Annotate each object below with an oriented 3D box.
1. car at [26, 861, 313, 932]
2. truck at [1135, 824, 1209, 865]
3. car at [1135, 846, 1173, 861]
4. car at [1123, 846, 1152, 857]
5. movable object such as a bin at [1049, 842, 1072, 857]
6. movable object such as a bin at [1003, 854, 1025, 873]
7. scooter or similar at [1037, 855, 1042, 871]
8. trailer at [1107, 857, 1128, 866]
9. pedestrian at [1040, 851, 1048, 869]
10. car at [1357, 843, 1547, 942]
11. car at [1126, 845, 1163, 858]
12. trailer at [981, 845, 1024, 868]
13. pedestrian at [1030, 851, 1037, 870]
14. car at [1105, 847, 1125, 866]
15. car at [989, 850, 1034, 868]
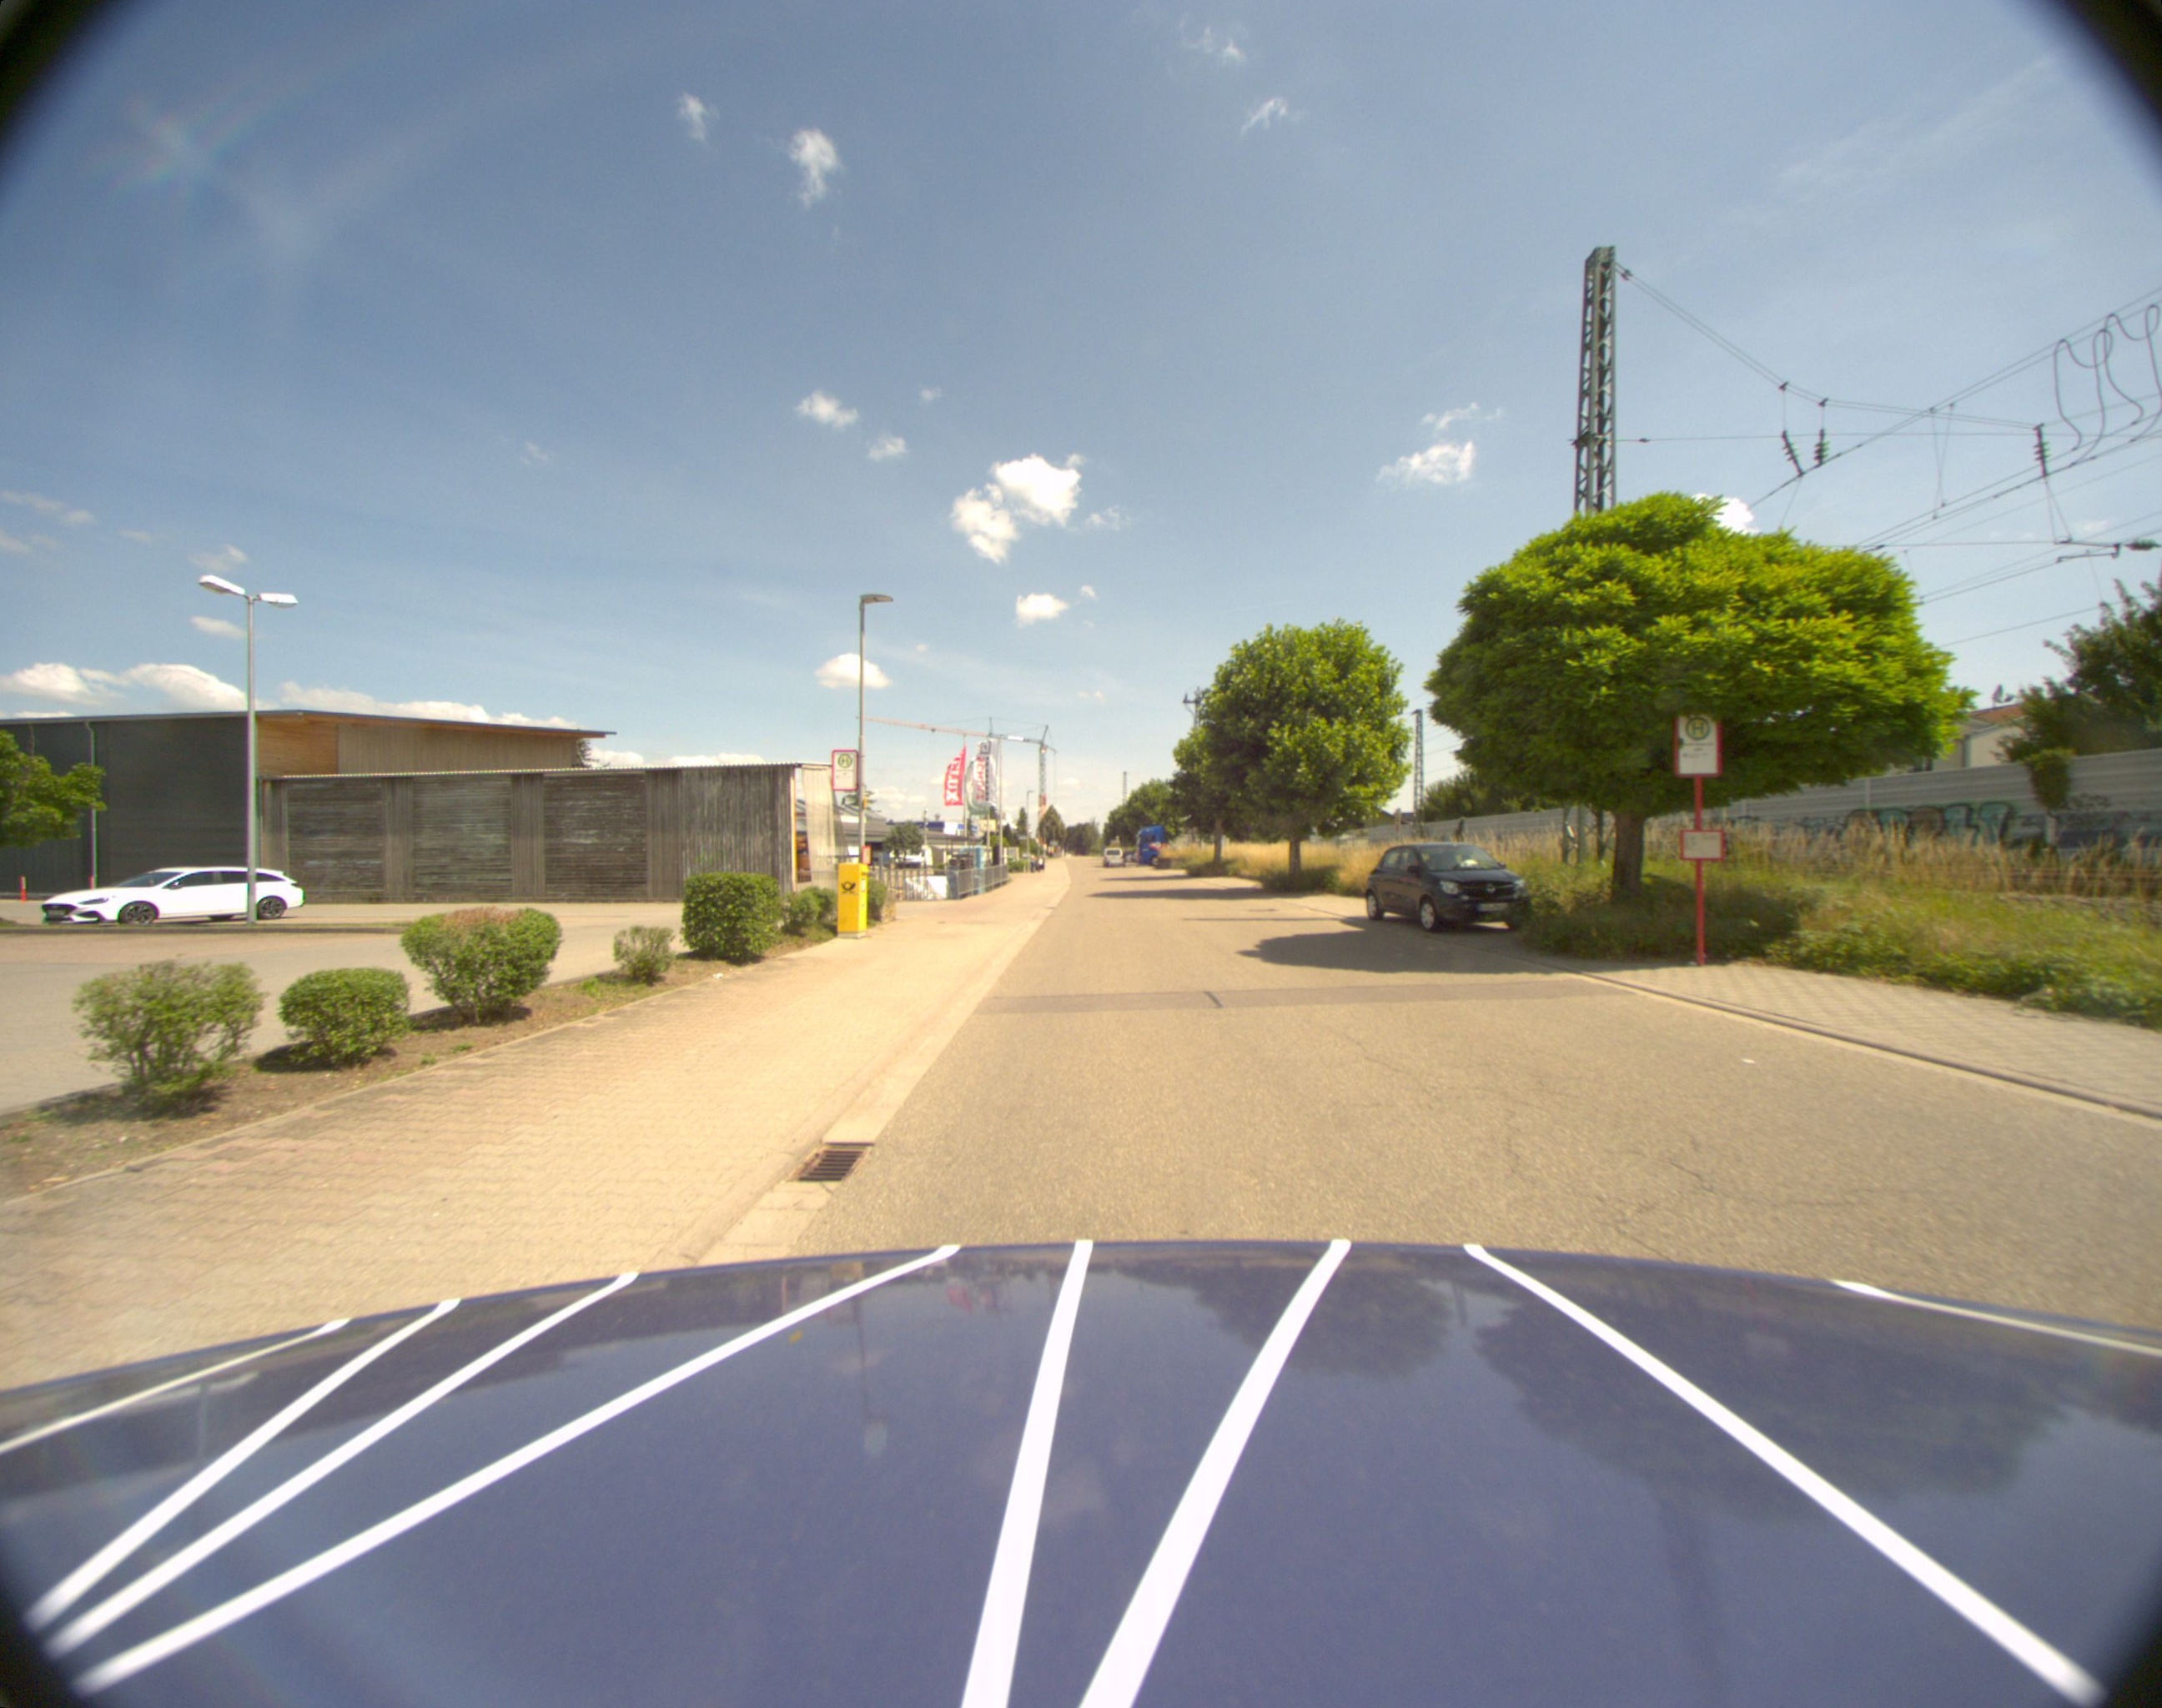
[{"bbox_3d":[-23.611,1.015,20.012,1.997,1.652,4.441,-1,0,7],"label":"car"},{"bbox_3d":[8.706,-0.873,73.064,6.632,3.801,2.663,-1,1,-4],"label":"truck"},{"bbox_3d":[8.158,-0.027,85.171,3.981,1.608,1.850,-1,1,-4],"label":"car"},{"bbox_3d":[7.770,-0.361,104.739,3.954,1.442,1.787,-1,1,3],"label":"car"},{"bbox_3d":[-4.846,-1.053,179.919,5.133,3.277,2.390,-1,6,-18],"label":"movable object such as a bin"},{"bbox_3d":[-5.303,0.763,60.081,1.270,1.450,1.046,-3,1,-38],"label":"movable object such as a bin"},{"bbox_3d":[-3.274,0.698,59.840,0.334,1.191,0.397,0,3,0],"label":"scooter or similar"},{"bbox_3d":[3.502,0.682,74.262,1.823,0.845,4.222,0,0,0],"label":"trailer"},{"bbox_3d":[-3.016,0.463,61.480,0.596,1.397,0.583,0,3,-4],"label":"pedestrian"},{"bbox_3d":[6.702,0.620,14.183,1.746,1.587,3.578,-1,0,-1],"label":"car"},{"bbox_3d":[7.795,-0.293,93.769,4.349,1.524,1.926,-1,1,-1],"label":"car"},{"bbox_3d":[-7.799,0.224,75.607,3.997,2.000,2.001,-2,-4,-1],"label":"trailer"},{"bbox_3d":[-3.737,0.504,59.900,0.536,1.531,0.510,0,3,-2],"label":"pedestrian"},{"bbox_3d":[3.469,0.269,78.651,1.843,1.847,4.483,-1,1,0],"label":"car"},{"bbox_3d":[-6.649,0.463,73.054,4.224,1.625,1.799,0,3,-2],"label":"car"}]
